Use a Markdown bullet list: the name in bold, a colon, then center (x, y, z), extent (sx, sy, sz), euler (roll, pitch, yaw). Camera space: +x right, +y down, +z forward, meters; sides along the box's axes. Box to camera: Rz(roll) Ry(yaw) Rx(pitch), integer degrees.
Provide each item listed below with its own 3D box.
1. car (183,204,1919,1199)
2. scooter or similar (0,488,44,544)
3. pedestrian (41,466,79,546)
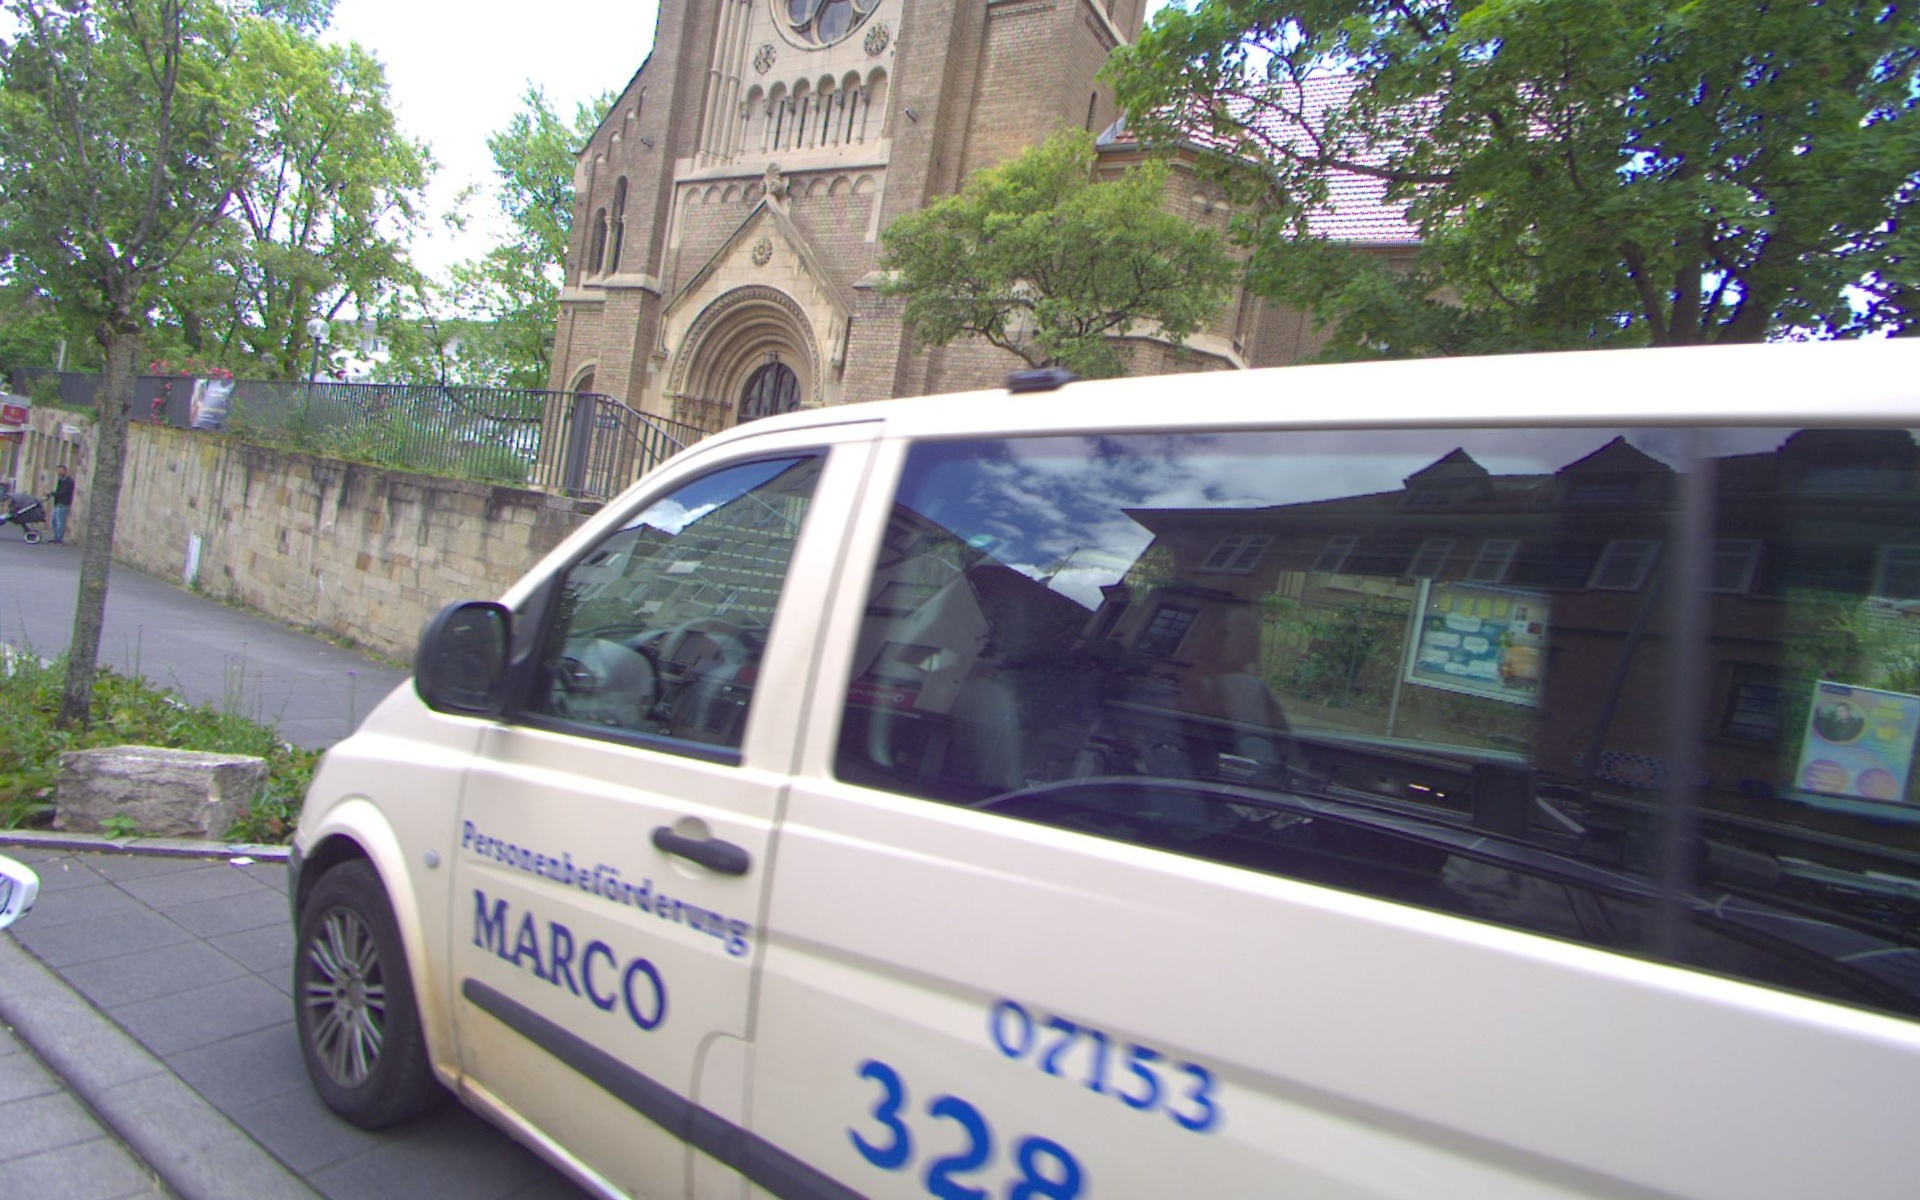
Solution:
- **car**: center (0.265, 0.576, 2.272), extent (4.954, 1.871, 1.884), euler (7, 1, 37)
- **scooter or similar**: center (-20.123, -1.797, 21.428), extent (0.553, 1.086, 0.810), euler (8, 2, 44)
- **pedestrian**: center (-19.547, -2.037, 21.844), extent (0.500, 1.667, 0.471), euler (8, 2, 44)
